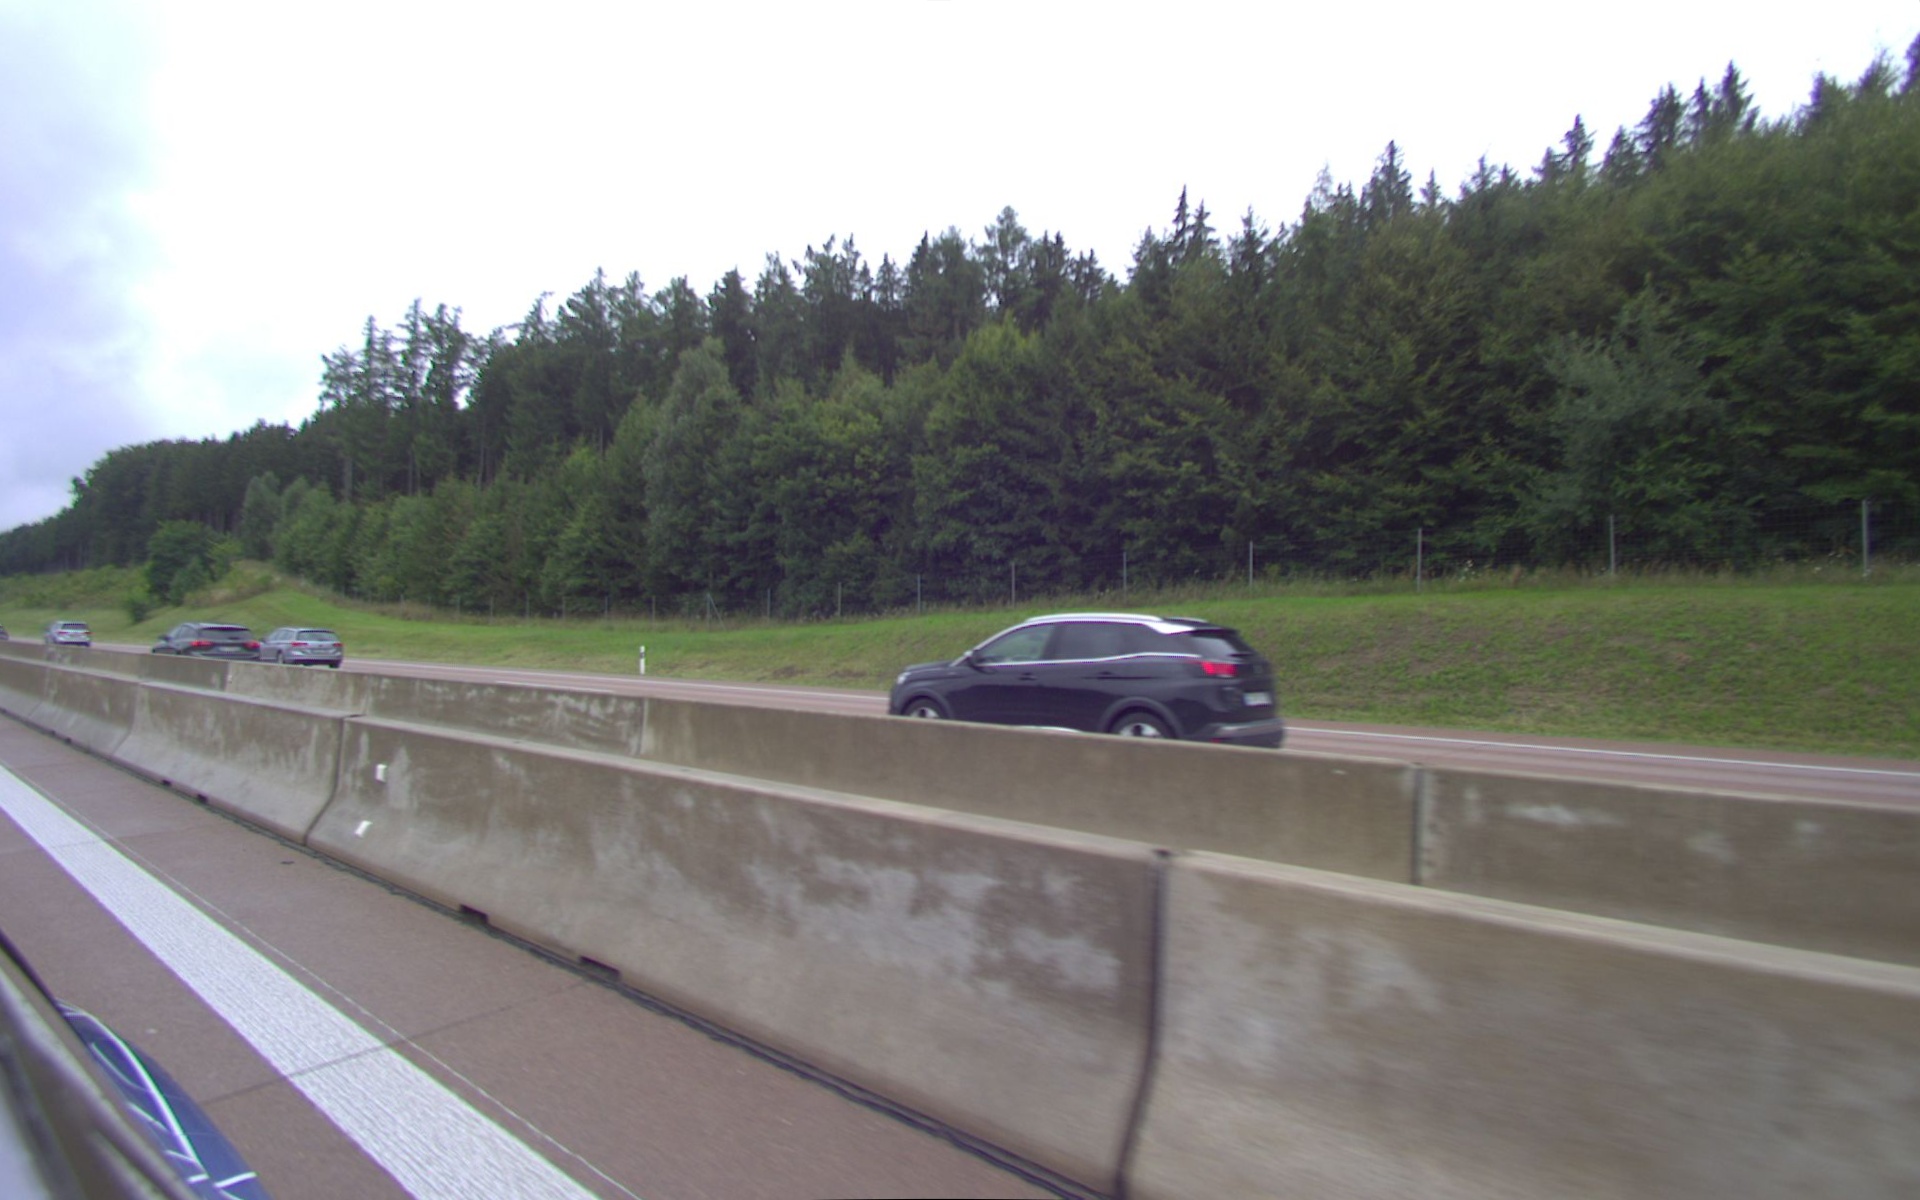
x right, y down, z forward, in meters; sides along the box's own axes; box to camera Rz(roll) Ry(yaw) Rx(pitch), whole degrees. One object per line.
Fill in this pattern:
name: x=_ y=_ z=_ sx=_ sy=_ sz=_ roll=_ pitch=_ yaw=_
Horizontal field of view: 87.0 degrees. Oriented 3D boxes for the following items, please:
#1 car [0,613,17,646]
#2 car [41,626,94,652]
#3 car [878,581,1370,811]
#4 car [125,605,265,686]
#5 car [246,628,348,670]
car: x=-56.290 y=1.683 z=58.492 sx=6.159 sy=1.719 sz=1.839 roll=0 pitch=1 yaw=40
car: x=-56.045 y=2.426 z=63.517 sx=4.862 sy=1.569 sz=1.770 roll=-1 pitch=-3 yaw=40
car: x=1.480 y=0.826 z=10.404 sx=4.685 sy=1.841 sz=1.972 roll=-1 pitch=-2 yaw=42
car: x=-21.950 y=1.208 z=28.944 sx=5.521 sy=2.029 sz=1.974 roll=0 pitch=1 yaw=40
car: x=-23.379 y=1.710 z=35.613 sx=4.806 sy=1.400 sz=1.633 roll=-1 pitch=-4 yaw=40
